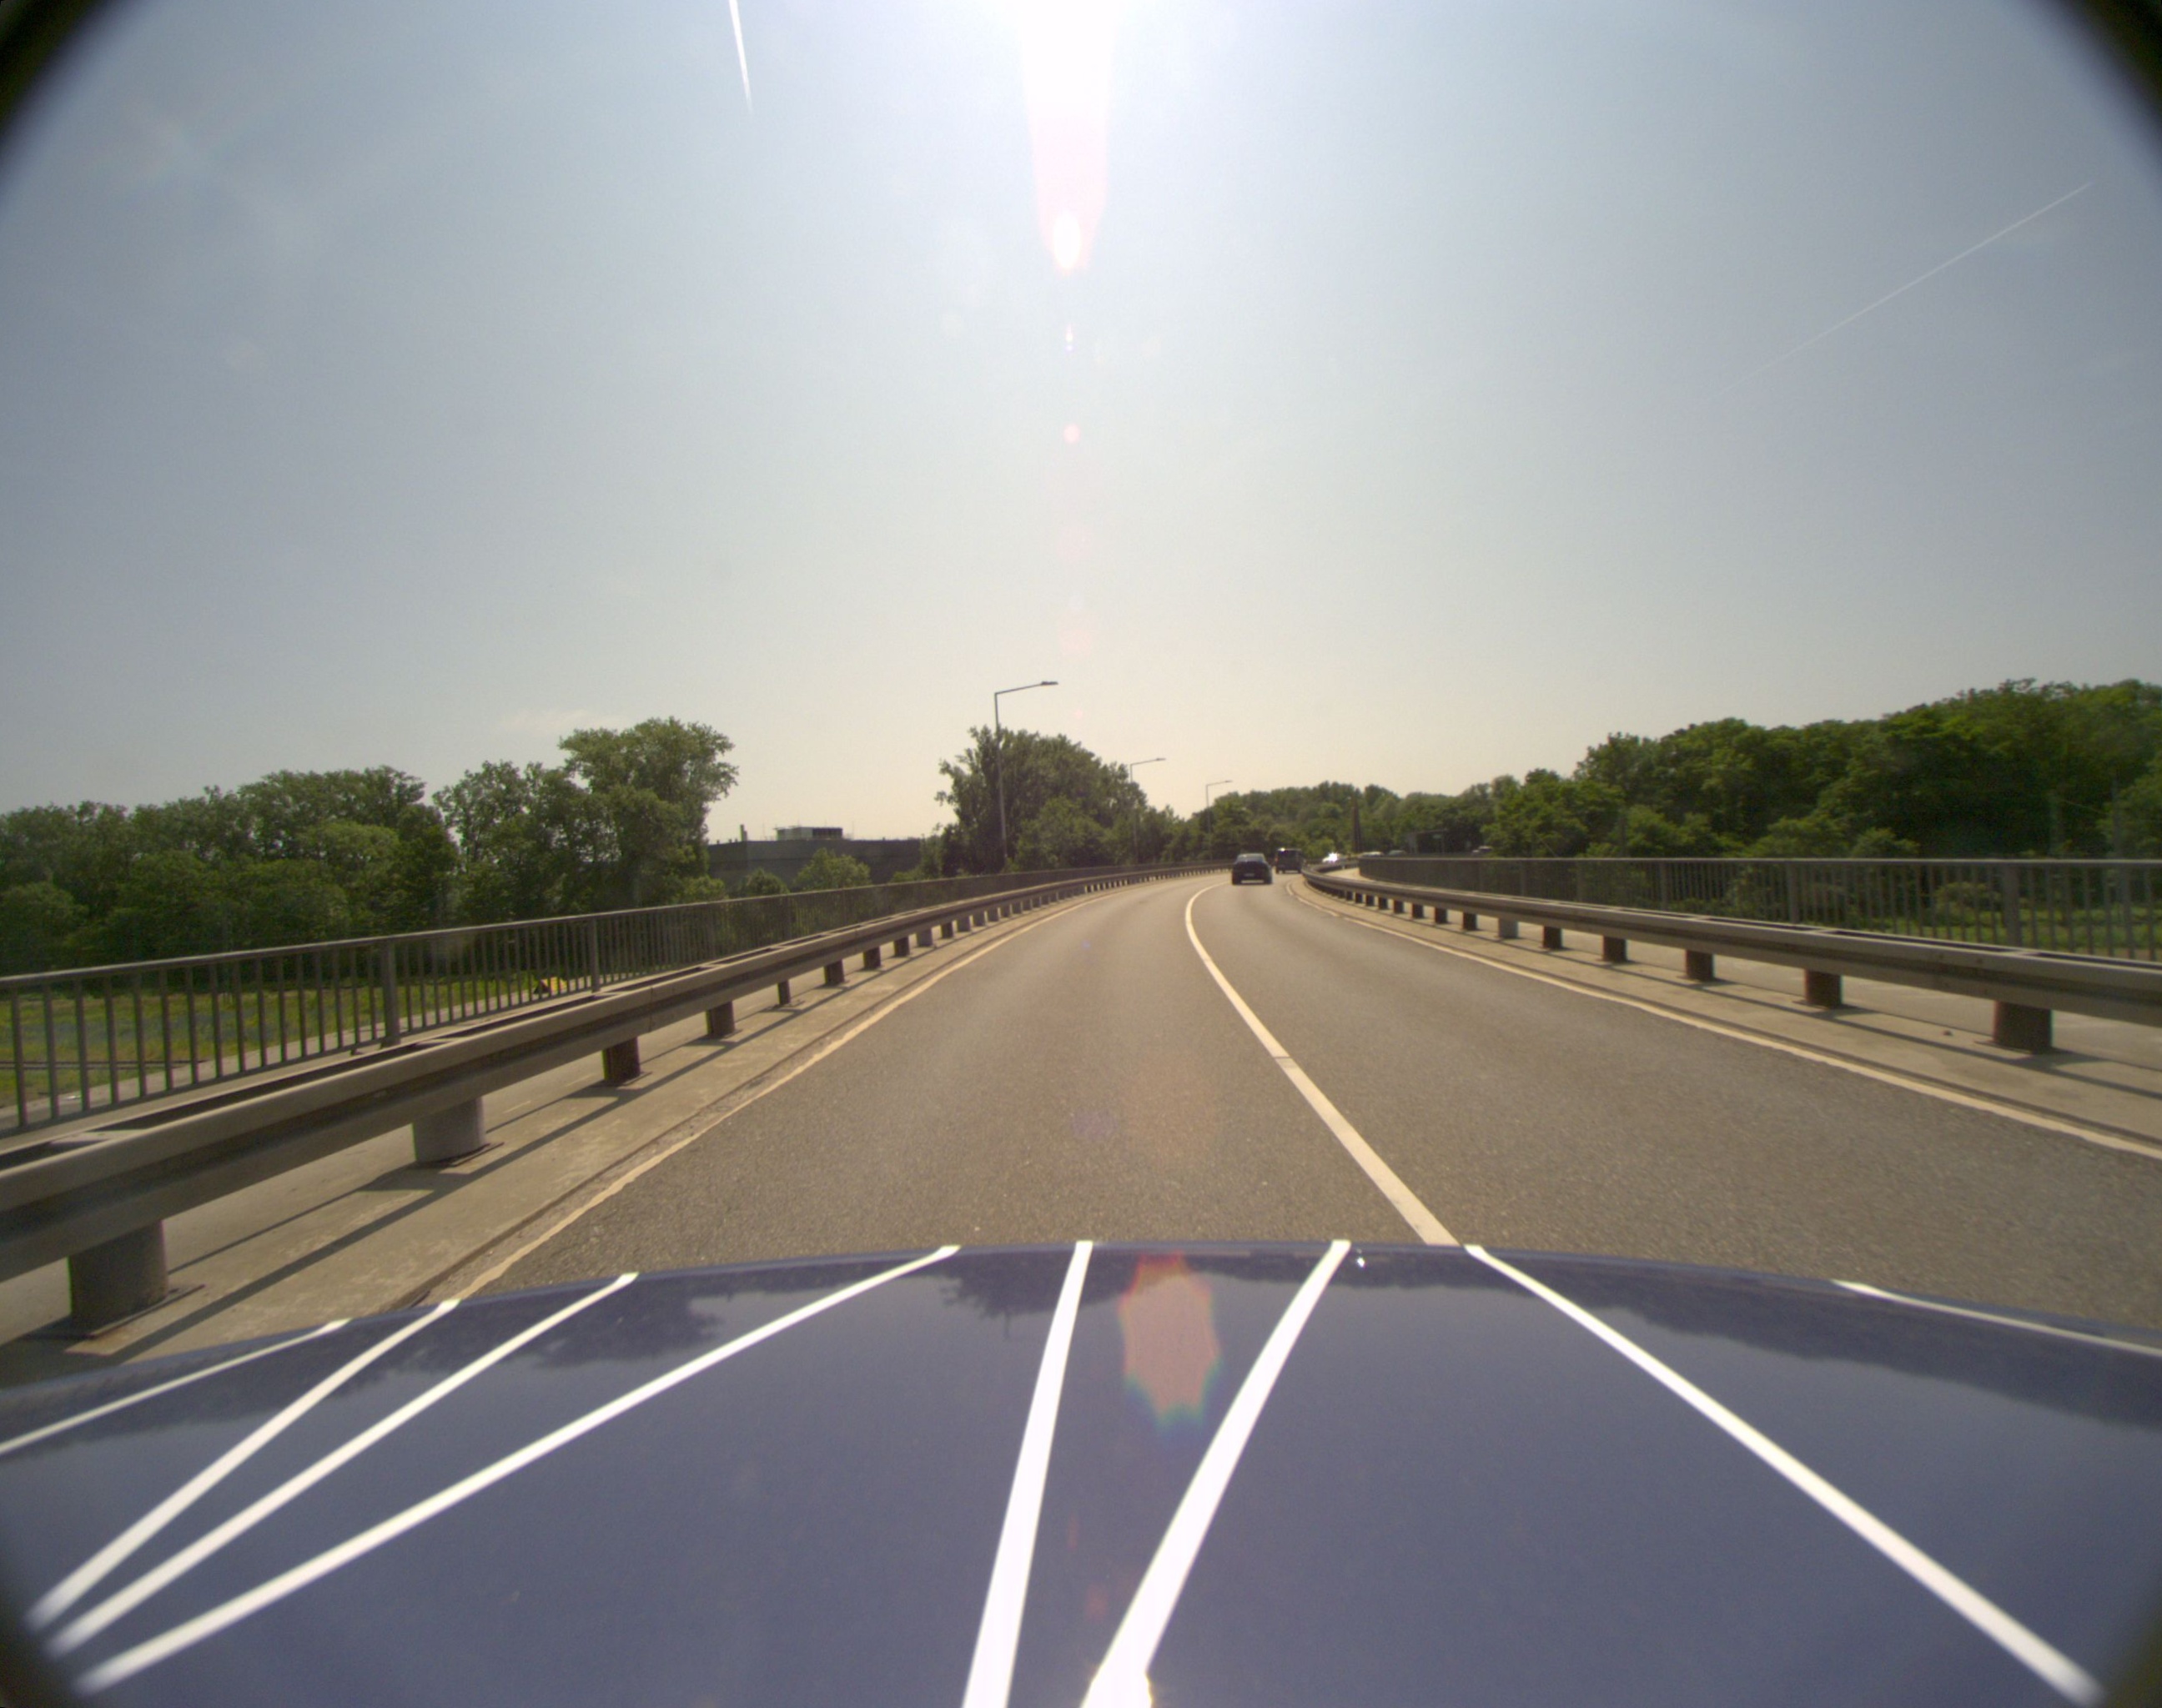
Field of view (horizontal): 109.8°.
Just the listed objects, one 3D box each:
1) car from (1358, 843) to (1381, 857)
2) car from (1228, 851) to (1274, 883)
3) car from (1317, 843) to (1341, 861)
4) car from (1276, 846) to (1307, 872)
[{"bbox_3d":[31.860,-0.392,83.947,1.665,1.455,3.493,-2,-1,33],"label":"car"},{"bbox_3d":[9.362,0.693,41.567,1.895,1.586,4.493,-2,-1,19],"label":"car"},{"bbox_3d":[29.516,-0.193,90.312,1.995,2.001,4.007,-2,-1,27],"label":"car"},{"bbox_3d":[17.469,0.361,62.802,2.009,1.947,5.278,-1,1,20],"label":"car"}]
